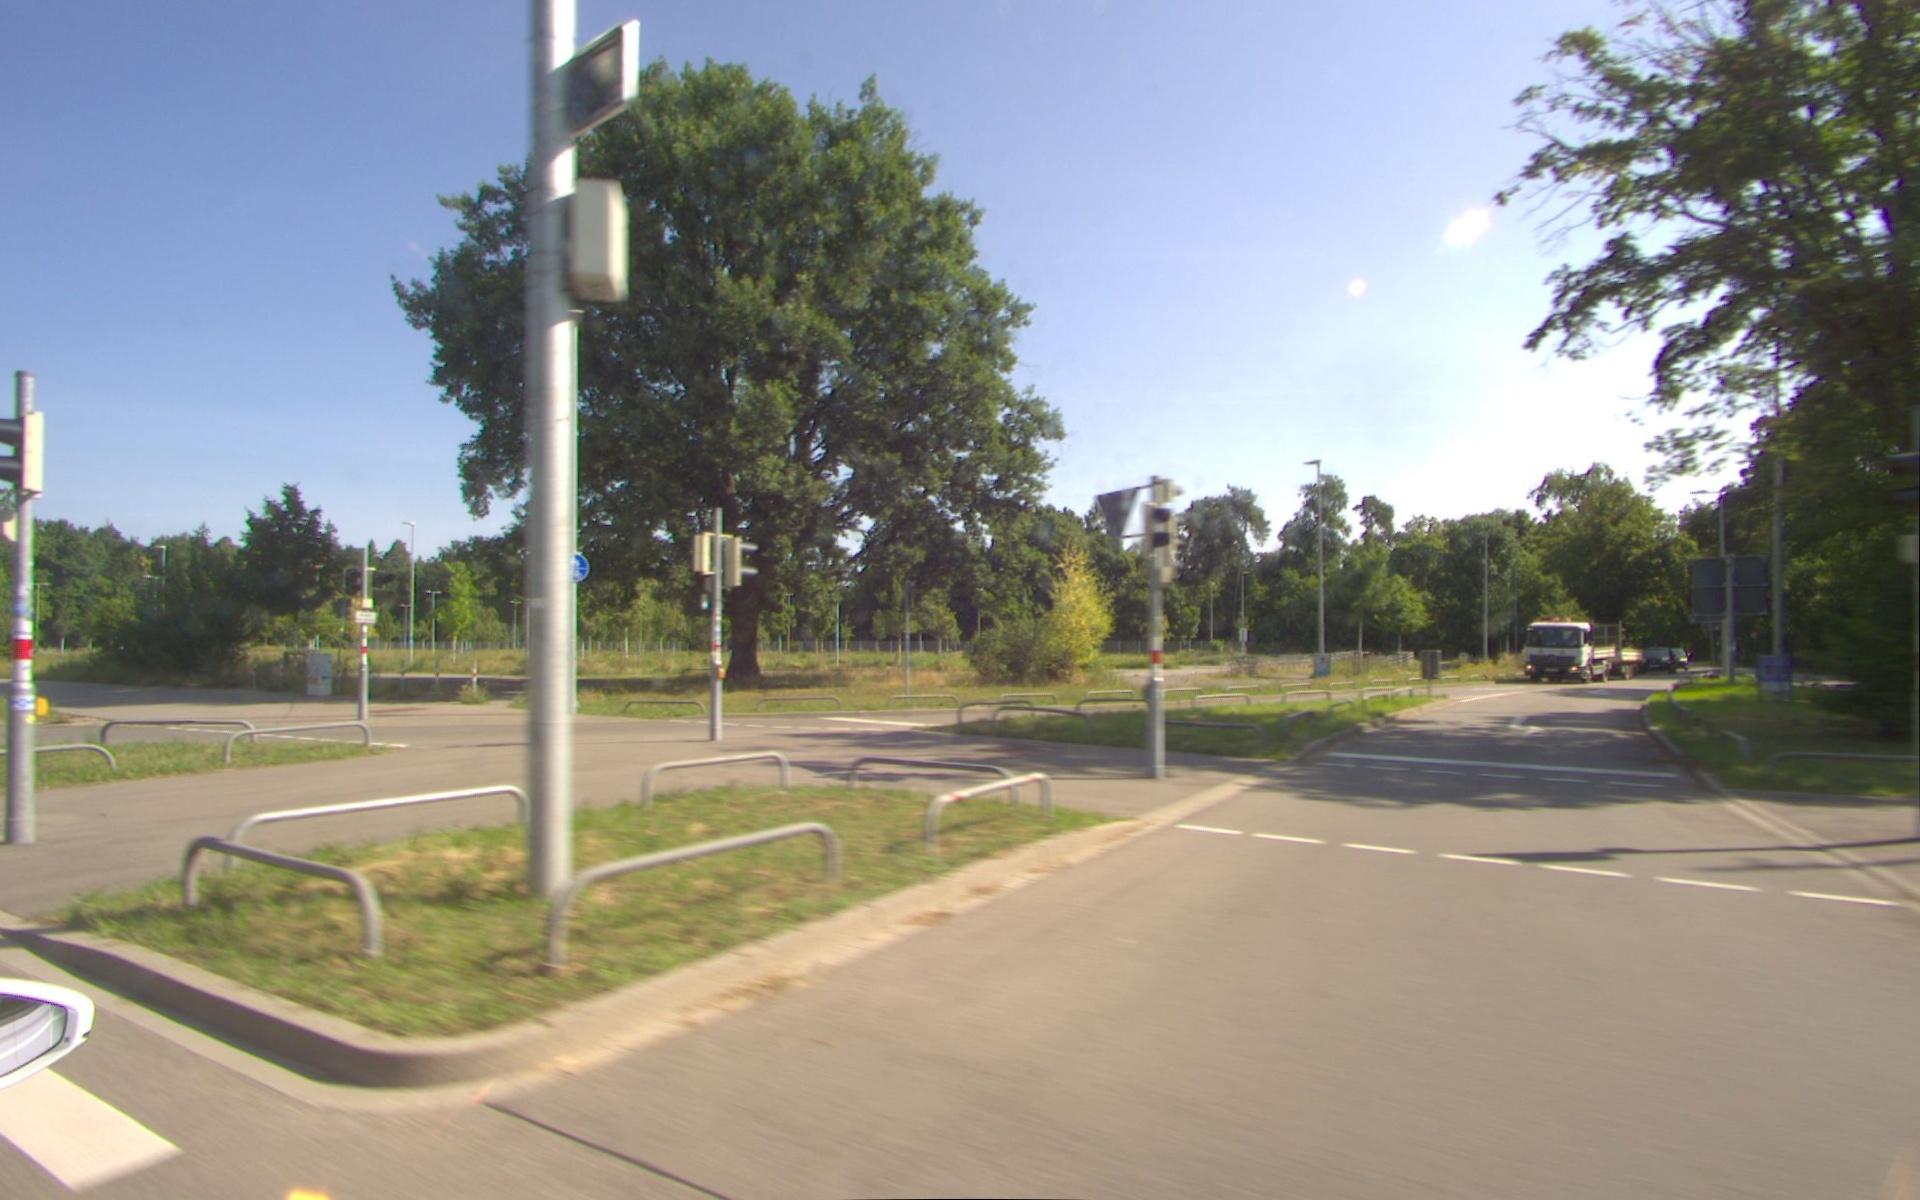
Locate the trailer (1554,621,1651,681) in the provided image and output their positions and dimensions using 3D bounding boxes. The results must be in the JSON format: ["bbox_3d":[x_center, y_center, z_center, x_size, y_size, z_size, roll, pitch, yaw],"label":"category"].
[{"bbox_3d":[31.597,2.508,49.135,2.676,2.721,6.828,-2,-4,44],"label":"trailer"}]

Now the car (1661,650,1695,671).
[{"bbox_3d":[53.230,4.467,74.210,1.975,1.505,3.975,-1,-3,37],"label":"car"}]

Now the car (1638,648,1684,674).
[{"bbox_3d":[42.605,3.704,60.855,1.826,1.502,3.968,-1,-3,42],"label":"car"}]

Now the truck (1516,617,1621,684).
[{"bbox_3d":[27.069,2.235,44.437,2.653,2.751,6.148,-2,-3,44],"label":"truck"}]
